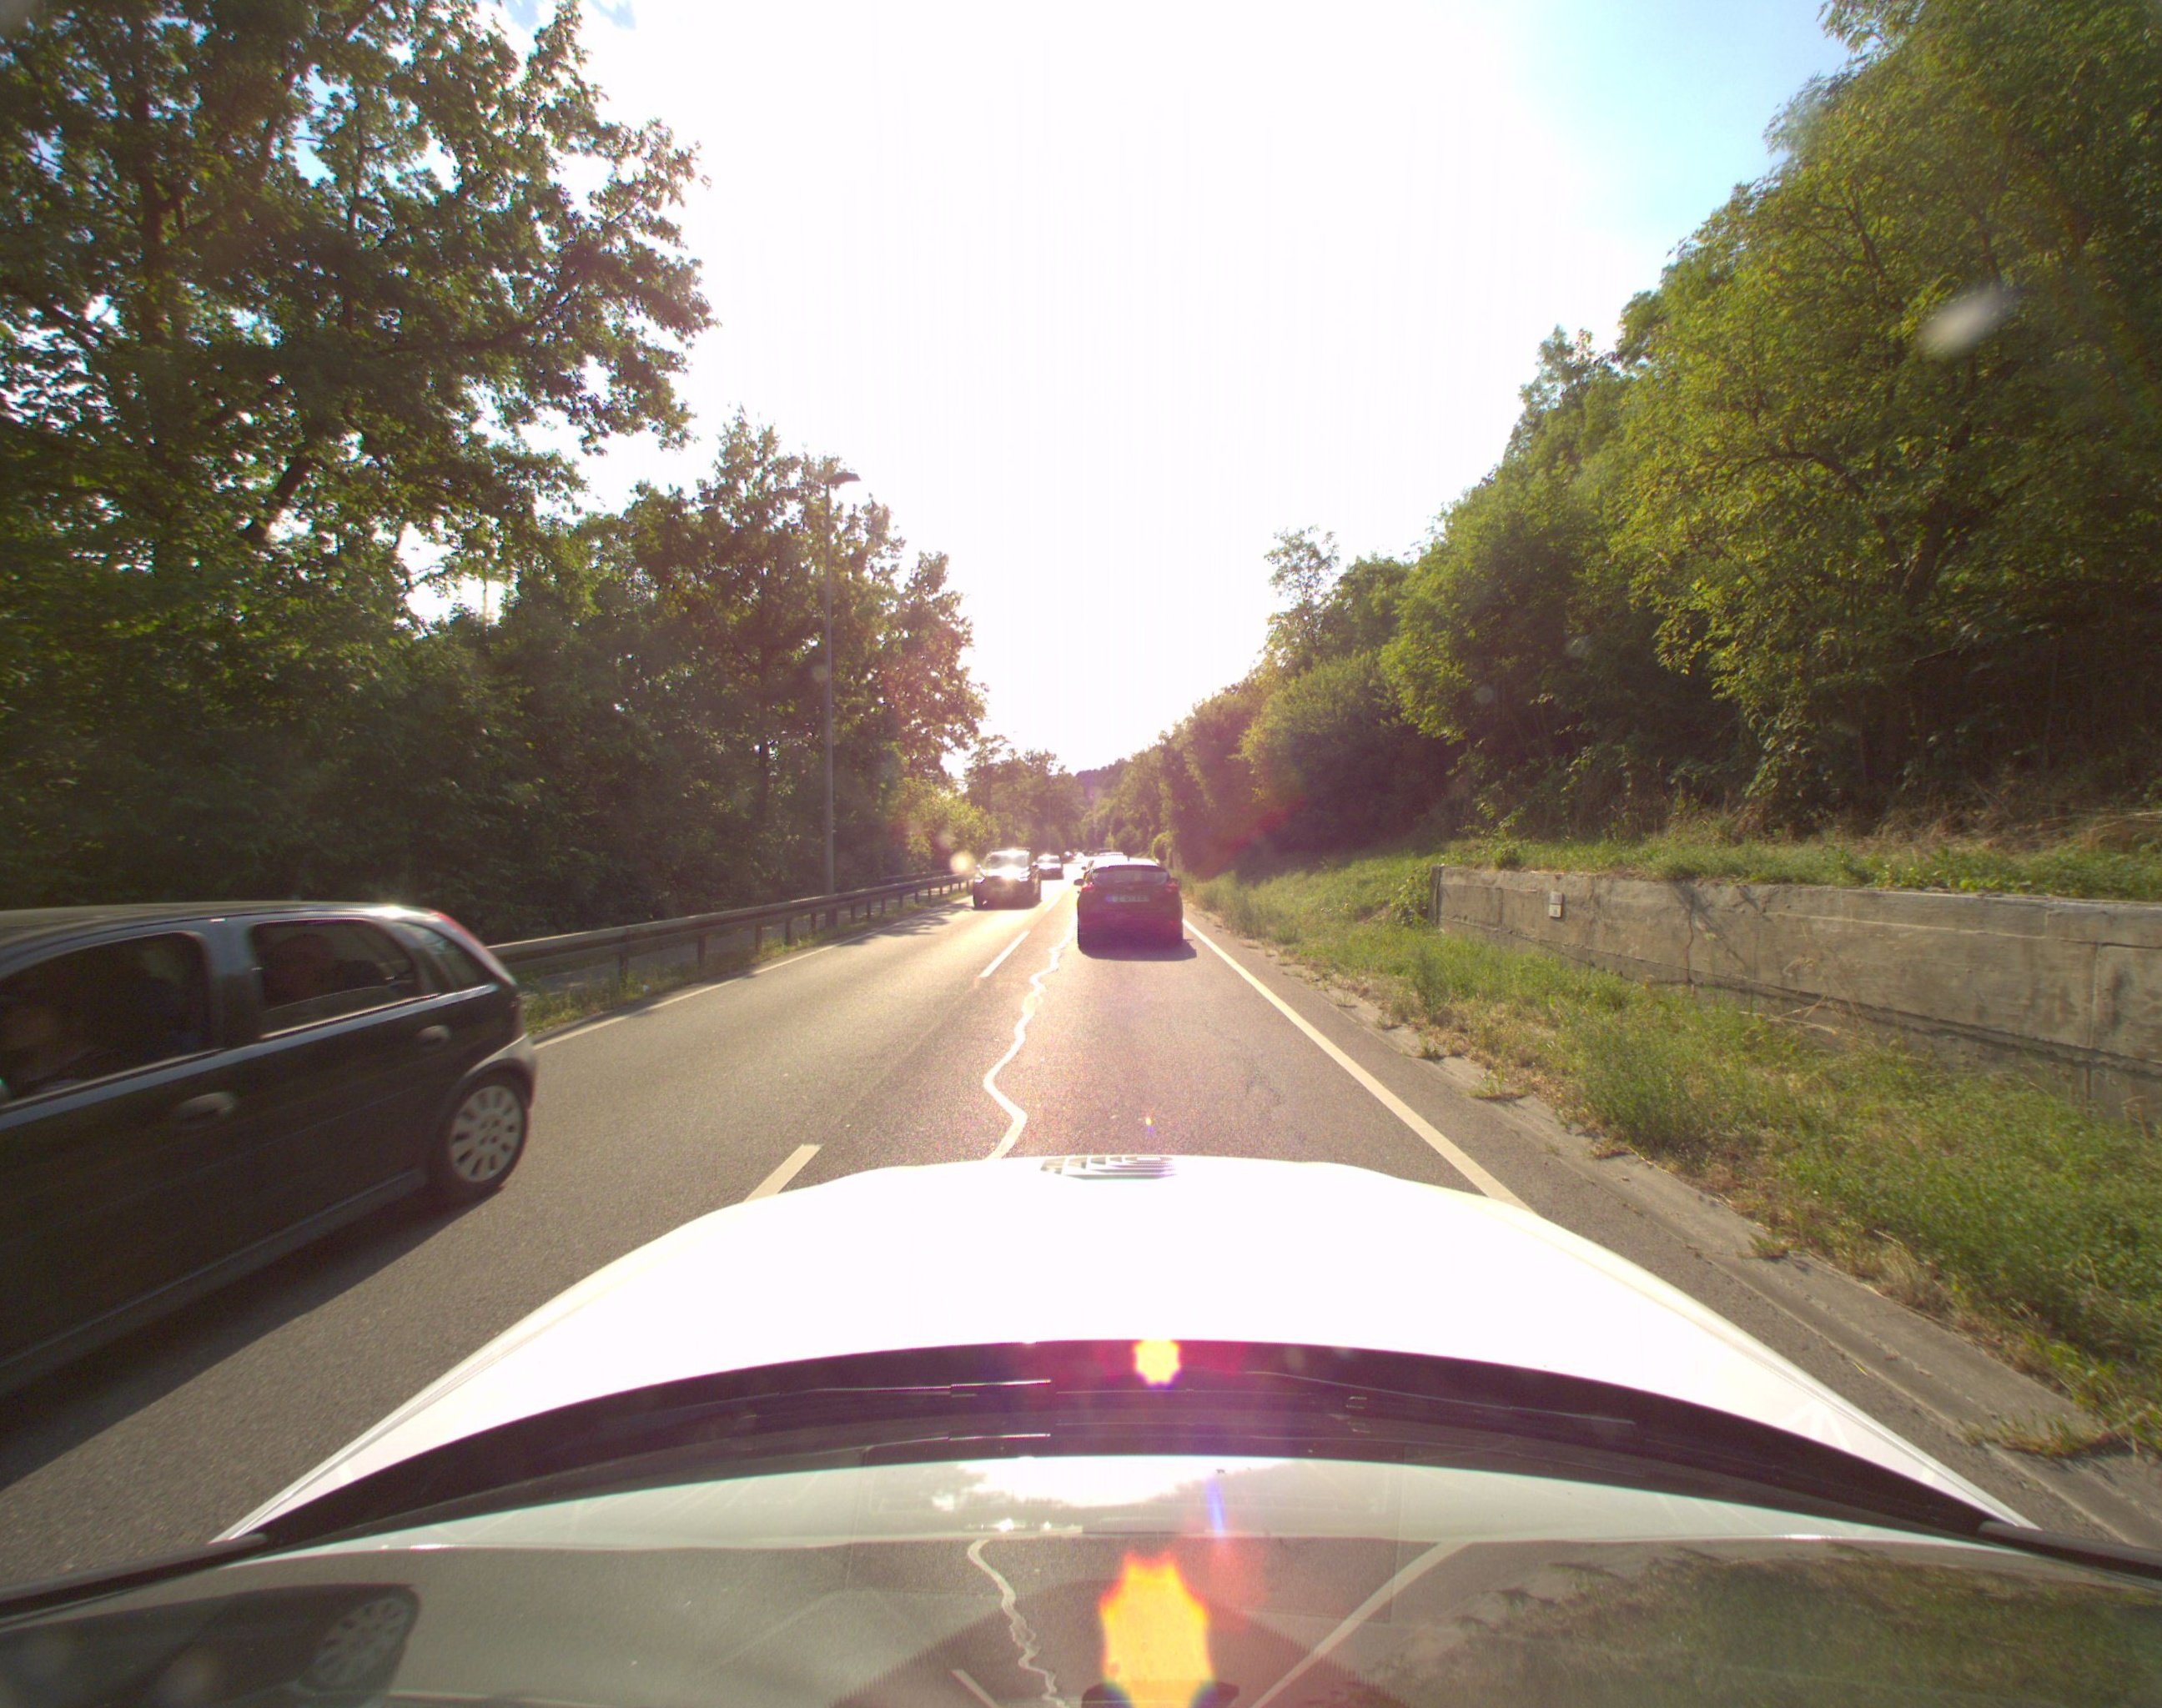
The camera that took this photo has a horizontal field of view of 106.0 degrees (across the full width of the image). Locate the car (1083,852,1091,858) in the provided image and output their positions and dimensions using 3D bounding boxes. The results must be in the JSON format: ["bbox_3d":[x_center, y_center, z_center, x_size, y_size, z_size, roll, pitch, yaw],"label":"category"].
[{"bbox_3d":[1.871,0.283,249.510,1.991,1.519,3.992,-1,0,-6],"label":"car"}]

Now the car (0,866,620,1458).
[{"bbox_3d":[-3.548,0.812,2.686,1.676,1.442,4.001,-1,0,1],"label":"car"}]

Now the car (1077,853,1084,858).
[{"bbox_3d":[-0.215,0.363,224.734,1.620,1.377,4.041,-3,0,-4],"label":"car"}]

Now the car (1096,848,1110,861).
[{"bbox_3d":[3.192,0.043,119.498,1.857,1.780,3.999,-1,0,0],"label":"car"}]

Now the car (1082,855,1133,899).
[{"bbox_3d":[0.990,0.764,29.012,1.654,1.418,4.003,-1,0,3],"label":"car"}]

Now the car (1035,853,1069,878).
[{"bbox_3d":[-1.775,0.715,50.765,1.684,1.420,4.145,-2,0,3],"label":"car"}]

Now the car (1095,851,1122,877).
[{"bbox_3d":[1.789,0.623,52.418,1.624,1.596,4.002,-1,0,2],"label":"car"}]

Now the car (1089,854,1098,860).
[{"bbox_3d":[3.519,0.861,234.877,1.991,1.519,3.992,-1,0,-6],"label":"car"}]

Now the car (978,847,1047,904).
[{"bbox_3d":[-2.208,0.645,27.286,1.741,1.717,4.224,-2,0,2],"label":"car"}]

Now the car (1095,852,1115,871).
[{"bbox_3d":[2.141,0.647,72.042,1.624,1.596,4.002,-1,0,2],"label":"car"}]

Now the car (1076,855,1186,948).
[{"bbox_3d":[0.865,0.757,14.974,1.733,1.456,4.002,-1,0,2],"label":"car"}]

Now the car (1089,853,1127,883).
[{"bbox_3d":[1.360,0.690,41.208,1.798,1.391,4.002,-1,0,2],"label":"car"}]

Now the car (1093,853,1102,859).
[{"bbox_3d":[4.265,0.449,213.745,1.991,1.519,3.992,-1,0,-6],"label":"car"}]
